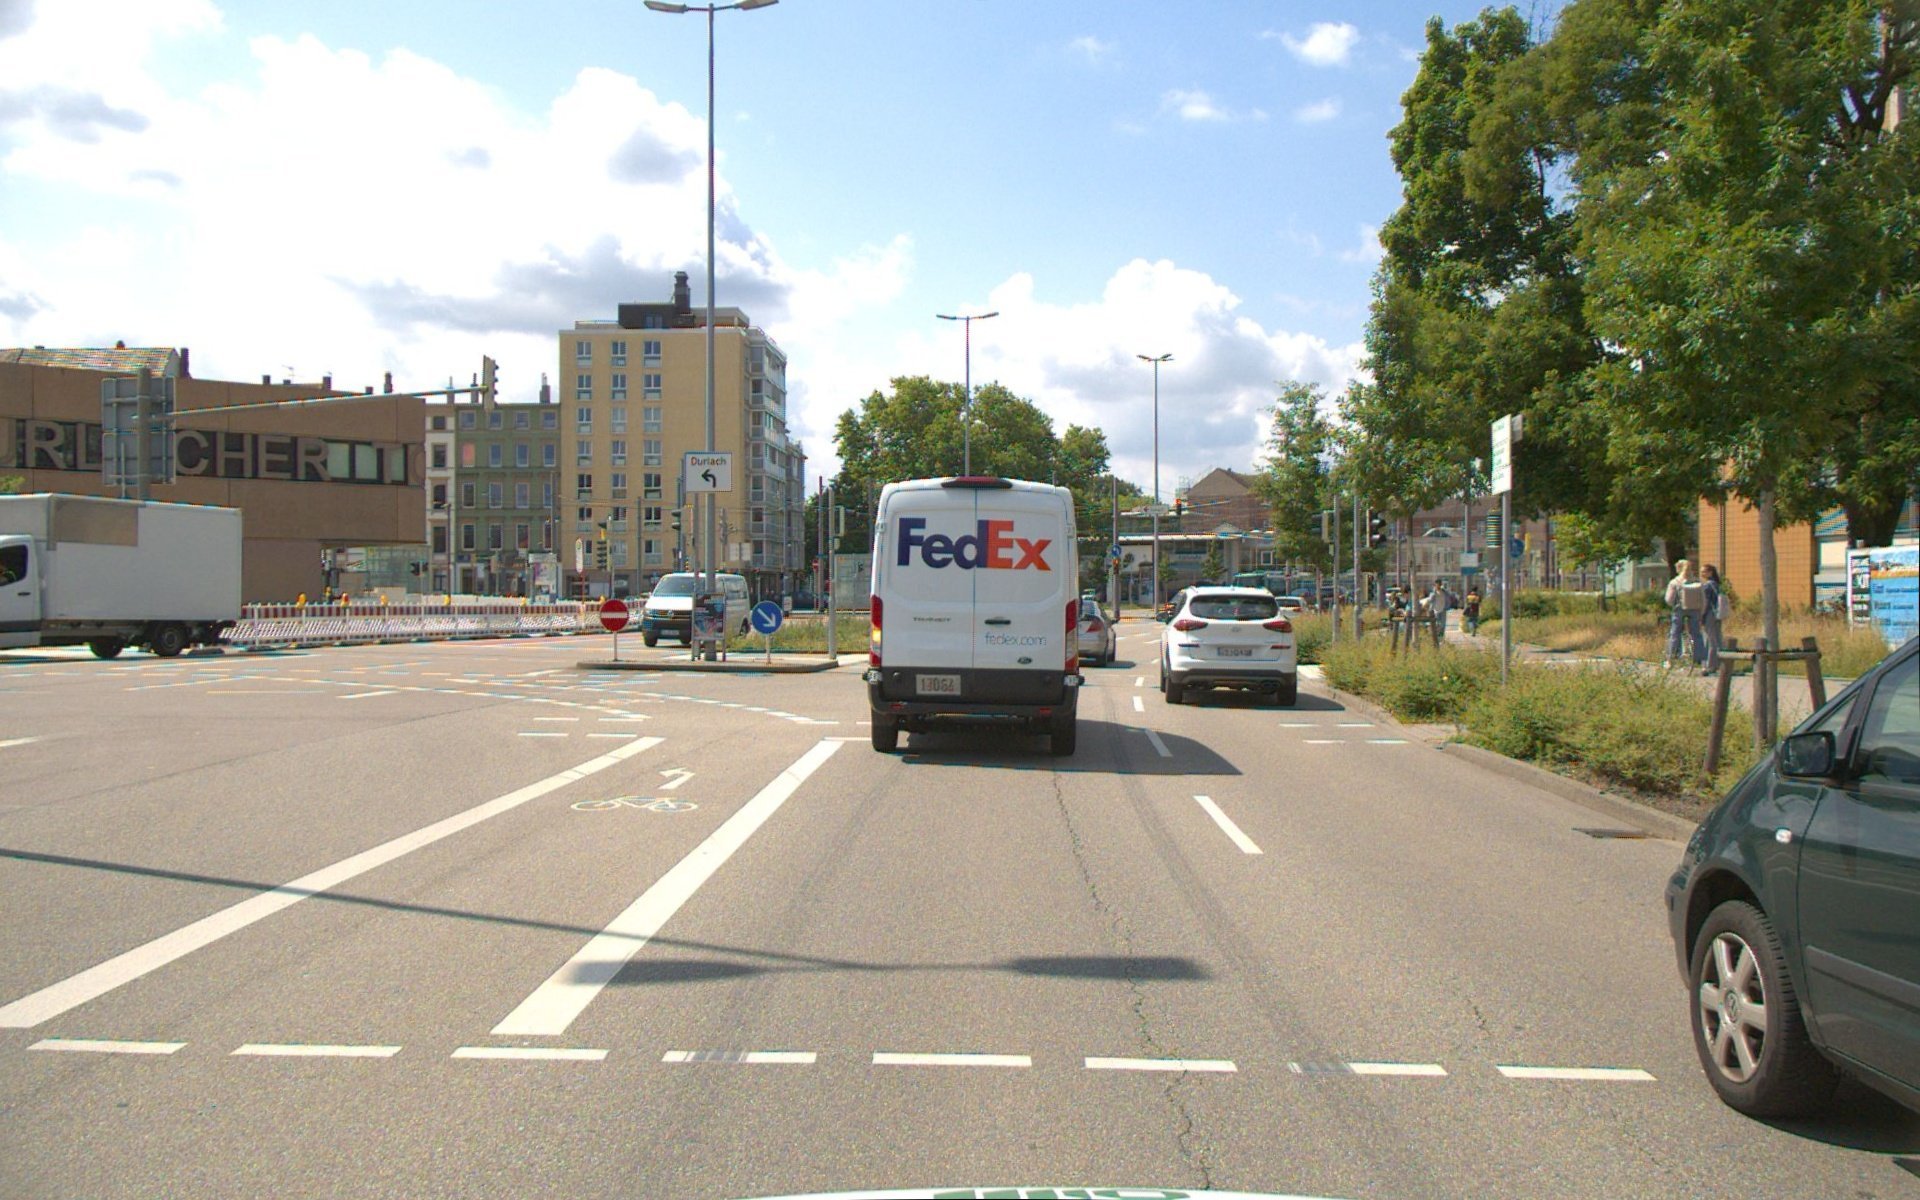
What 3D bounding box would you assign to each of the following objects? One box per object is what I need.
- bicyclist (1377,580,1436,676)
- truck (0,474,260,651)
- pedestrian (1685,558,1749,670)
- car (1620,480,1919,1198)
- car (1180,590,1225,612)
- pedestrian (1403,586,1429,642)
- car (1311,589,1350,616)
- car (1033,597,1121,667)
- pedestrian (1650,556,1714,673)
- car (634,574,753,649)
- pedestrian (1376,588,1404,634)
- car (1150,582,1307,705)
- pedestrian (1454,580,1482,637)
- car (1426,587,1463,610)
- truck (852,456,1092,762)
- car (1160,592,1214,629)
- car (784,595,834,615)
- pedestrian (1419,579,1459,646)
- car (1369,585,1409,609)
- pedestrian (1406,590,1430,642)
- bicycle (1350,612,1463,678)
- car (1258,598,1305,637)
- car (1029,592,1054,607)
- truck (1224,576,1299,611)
[{"bbox_3d":[7.857,0.496,29.098,0.810,1.629,0.580,-3,-1,1],"label":"bicyclist"},{"bbox_3d":[-16.982,-0.631,31.524,1.953,3.121,7.327,1,-1,23],"label":"truck"},{"bbox_3d":[12.351,0.220,26.991,0.734,1.783,0.609,-1,0,1],"label":"pedestrian"},{"bbox_3d":[3.248,0.612,3.576,1.758,1.753,4.447,2,0,-1],"label":"car"},{"bbox_3d":[21.004,0.041,143.196,1.690,1.832,4.718,-1,0,38],"label":"car"},{"bbox_3d":[13.662,0.421,49.582,0.575,1.654,0.728,1,-1,2],"label":"pedestrian"},{"bbox_3d":[23.090,0.134,102.937,1.842,1.670,3.957,0,0,21],"label":"car"},{"bbox_3d":[2.631,0.664,36.571,1.704,1.416,4.183,0,0,7],"label":"car"},{"bbox_3d":[11.578,0.228,26.540,0.734,1.834,0.609,-1,0,1],"label":"pedestrian"},{"bbox_3d":[-7.147,0.266,44.868,1.841,1.927,4.873,0,0,8],"label":"car"},{"bbox_3d":[15.292,0.400,58.840,0.741,1.617,0.761,1,-1,-4],"label":"pedestrian"},{"bbox_3d":[3.890,0.578,24.588,1.842,1.670,4.234,0,0,3],"label":"car"},{"bbox_3d":[16.645,0.273,54.218,0.740,1.853,0.674,1,-1,4],"label":"pedestrian"},{"bbox_3d":[37.163,-0.131,126.829,1.846,1.670,3.950,0,0,29],"label":"car"},{"bbox_3d":[0.284,0.082,17.636,2.092,2.686,5.920,1,0,3],"label":"truck"},{"bbox_3d":[10.915,0.479,79.294,1.887,1.670,4.795,0,0,17],"label":"car"},{"bbox_3d":[-13.048,0.427,143.356,4.017,1.694,1.870,1,-1,3],"label":"car"},{"bbox_3d":[13.491,0.352,46.592,0.741,1.853,0.779,-3,-1,-4],"label":"pedestrian"},{"bbox_3d":[31.038,-0.232,119.596,1.846,1.670,3.950,0,0,29],"label":"car"},{"bbox_3d":[14.818,0.521,53.501,0.636,1.654,0.775,-3,-2,18],"label":"pedestrian"},{"bbox_3d":[7.842,0.786,29.092,1.772,1.068,0.592,-3,-1,1],"label":"bicycle"},{"bbox_3d":[14.223,0.745,73.030,1.841,1.670,3.960,0,0,14],"label":"car"},{"bbox_3d":[9.175,-0.088,186.708,1.951,1.601,4.180,1,-1,16],"label":"car"},{"bbox_3d":[25.842,-0.585,141.470,2.838,2.902,8.757,0,0,36],"label":"truck"}]
